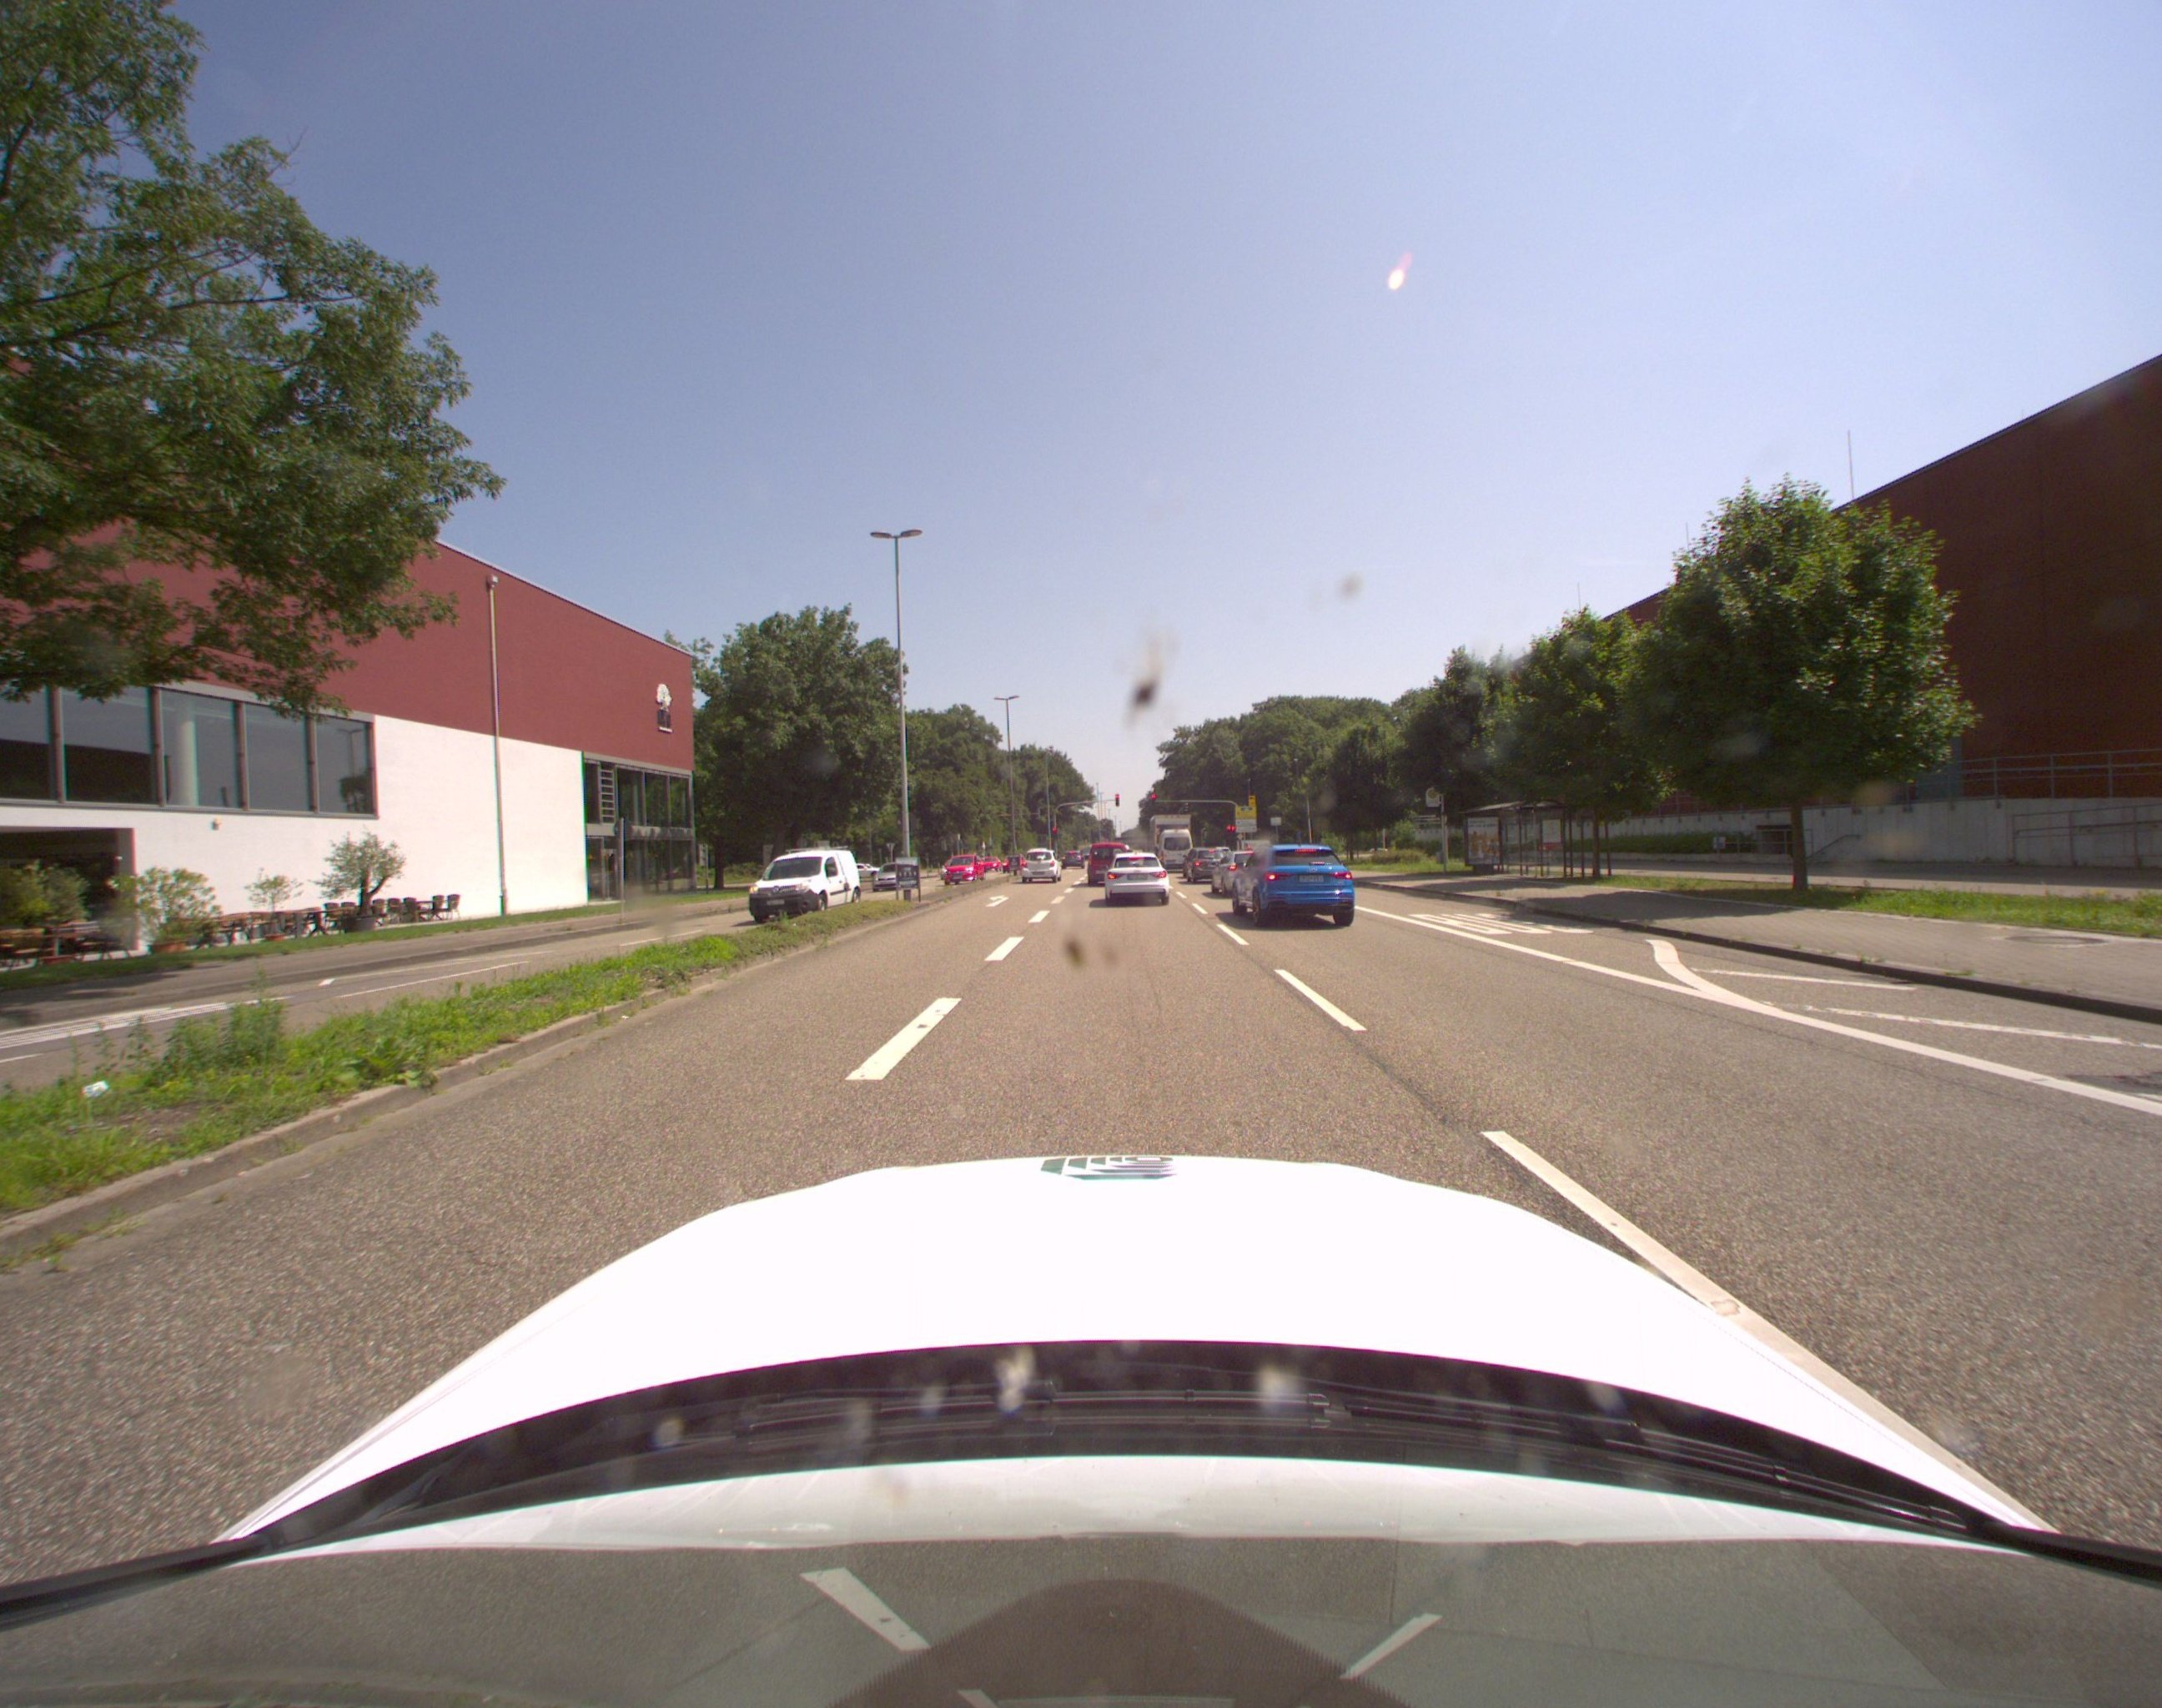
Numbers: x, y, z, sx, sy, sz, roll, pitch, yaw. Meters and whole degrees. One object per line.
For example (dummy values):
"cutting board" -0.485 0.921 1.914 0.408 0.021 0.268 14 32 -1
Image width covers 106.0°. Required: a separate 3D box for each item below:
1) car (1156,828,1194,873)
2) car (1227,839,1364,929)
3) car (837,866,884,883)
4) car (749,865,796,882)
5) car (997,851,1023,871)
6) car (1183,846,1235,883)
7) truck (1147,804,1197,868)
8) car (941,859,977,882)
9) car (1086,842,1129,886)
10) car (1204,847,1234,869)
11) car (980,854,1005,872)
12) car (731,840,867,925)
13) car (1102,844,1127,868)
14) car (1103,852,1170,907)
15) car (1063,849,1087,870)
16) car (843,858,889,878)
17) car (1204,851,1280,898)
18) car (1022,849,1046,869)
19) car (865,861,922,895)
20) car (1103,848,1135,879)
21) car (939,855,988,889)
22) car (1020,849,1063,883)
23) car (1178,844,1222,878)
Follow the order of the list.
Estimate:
"car" 5.890 -0.205 51.543 2.023 2.644 4.848 -1 0 2
"car" 4.299 0.528 17.018 1.830 1.596 4.402 -2 0 2
"car" -22.381 2.079 82.908 4.364 1.681 1.807 -1 -1 -5
"car" -32.487 2.065 85.857 4.368 1.681 1.805 0 -1 -9
"car" -5.739 0.549 66.157 1.575 1.441 3.610 -4 0 1
"car" 5.528 0.409 35.556 1.705 1.478 4.093 1 0 1
"truck" 6.833 -1.306 62.631 3.075 4.434 11.589 -1 0 3
"car" -8.853 1.148 59.459 1.771 1.404 4.361 -5 0 2
"car" 1.115 0.388 34.676 1.705 1.748 4.093 -1 0 1
"car" 10.370 0.269 61.406 1.705 1.546 4.093 -1 0 1
"car" -8.361 0.822 77.140 1.698 1.452 3.894 -5 0 3
"car" -7.440 0.670 21.996 1.845 1.905 4.428 -5 0 2
"car" 2.356 0.131 57.775 1.705 1.631 4.093 -1 0 1
"car" 1.499 0.660 23.289 1.705 1.386 4.093 -1 0 1
"car" -0.492 0.406 66.217 1.768 1.641 4.038 -1 0 1
"car" -22.865 1.514 86.697 4.364 1.681 1.807 -6 0 -5
"car" 5.028 0.581 25.862 1.705 1.362 4.093 0 0 1
"car" -4.975 0.469 86.364 1.986 1.945 4.910 -4 0 2
"car" -9.617 1.188 42.127 1.742 1.451 4.136 -5 0 2
"car" 2.087 0.489 45.764 1.705 1.631 4.093 -1 0 1
"car" -6.338 0.927 44.350 1.742 1.569 4.156 -5 0 2
"car" -1.849 0.539 39.049 1.705 1.492 4.093 -1 0 1
"car" 6.017 0.324 41.633 1.705 1.593 4.093 -1 0 1
